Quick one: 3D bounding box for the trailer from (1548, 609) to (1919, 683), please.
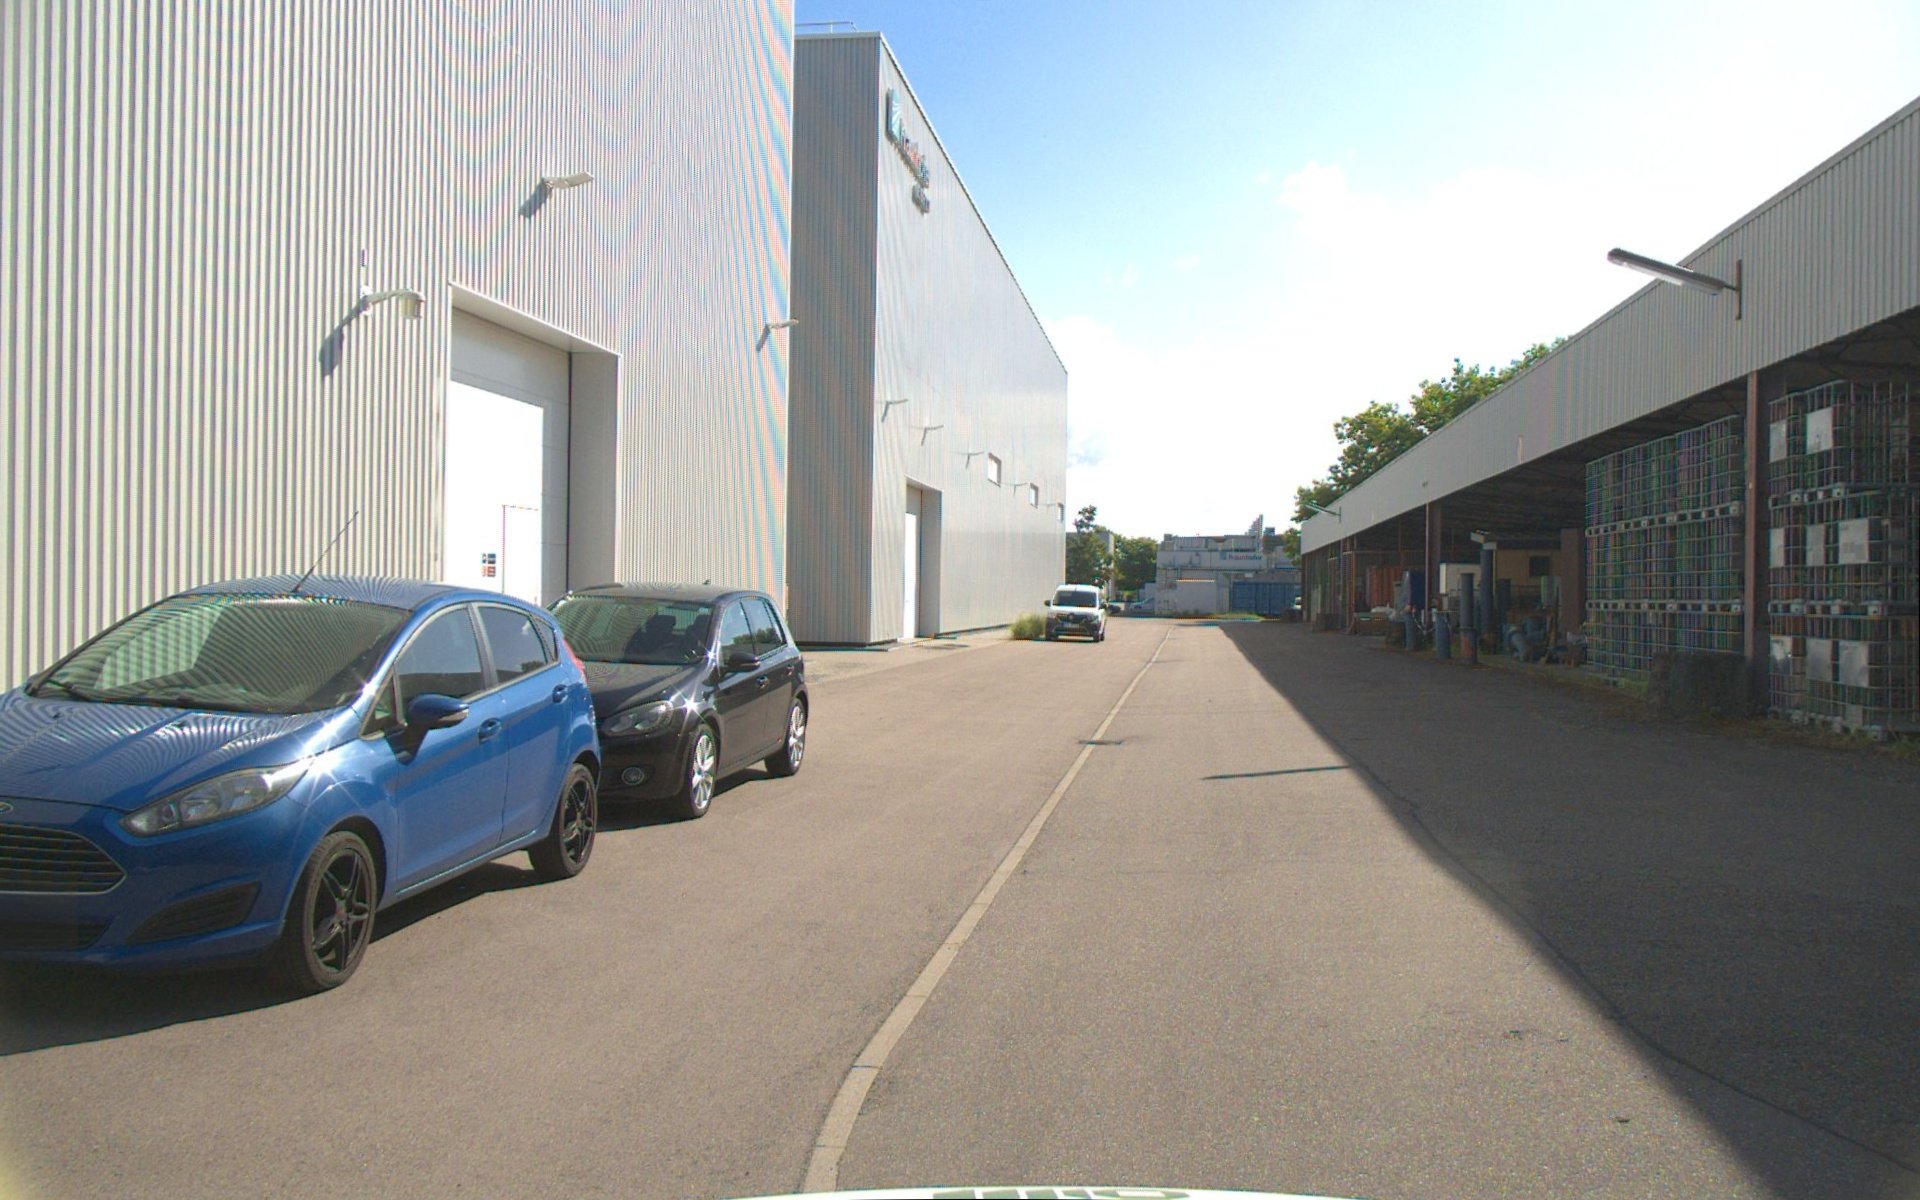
[{"bbox_3d":[13.166,0.747,28.005,5.723,1.153,2.143,0,0,6],"label":"trailer"}]

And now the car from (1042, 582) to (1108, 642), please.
[{"bbox_3d":[3.834,0.380,54.539,1.780,1.818,4.409,2,0,8],"label":"car"}]

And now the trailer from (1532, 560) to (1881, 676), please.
[{"bbox_3d":[13.907,0.304,31.146,5.643,2.068,2.079,0,0,9],"label":"trailer"}]

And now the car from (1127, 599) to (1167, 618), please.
[{"bbox_3d":[18.495,0.873,163.749,3.902,1.626,1.849,2,-2,7],"label":"car"}]

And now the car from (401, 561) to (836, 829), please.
[{"bbox_3d":[-2.246,0.573,12.162,1.717,1.526,4.297,3,0,8],"label":"car"}]

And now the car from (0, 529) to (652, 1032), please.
[{"bbox_3d":[-2.795,0.542,7.292,1.596,1.526,4.098,3,0,7],"label":"car"}]

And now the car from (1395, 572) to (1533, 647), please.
[{"bbox_3d":[17.606,0.346,57.959,4.338,2.350,1.917,2,-2,9],"label":"car"}]

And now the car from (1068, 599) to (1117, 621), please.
[{"bbox_3d":[10.955,0.810,136.639,3.902,1.626,1.743,2,-2,7],"label":"car"}]

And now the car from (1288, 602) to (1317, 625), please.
[{"bbox_3d":[25.236,0.972,122.046,1.920,1.592,4.062,2,1,10],"label":"car"}]

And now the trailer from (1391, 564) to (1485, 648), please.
[{"bbox_3d":[14.291,0.183,49.550,2.470,2.441,1.728,1,-1,9],"label":"trailer"}]
